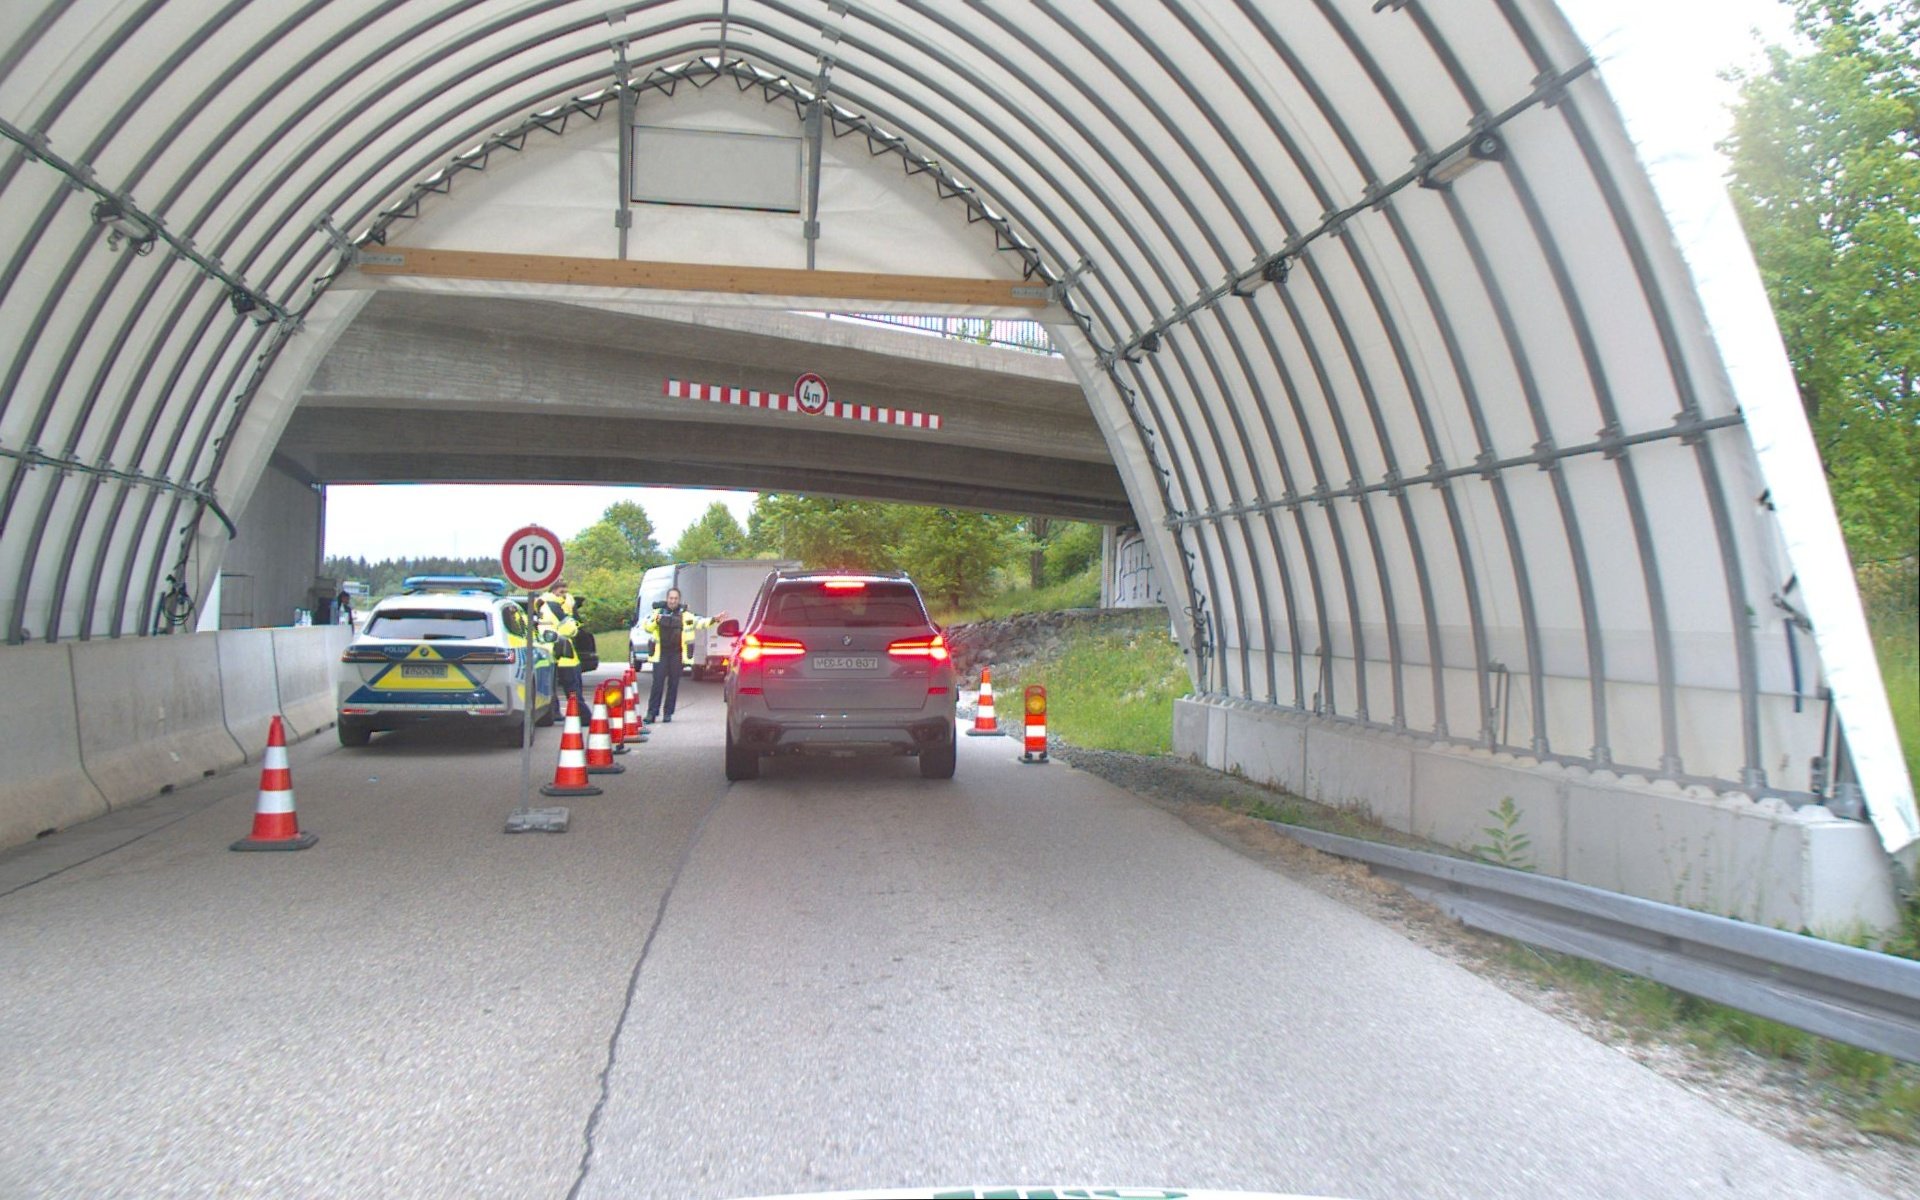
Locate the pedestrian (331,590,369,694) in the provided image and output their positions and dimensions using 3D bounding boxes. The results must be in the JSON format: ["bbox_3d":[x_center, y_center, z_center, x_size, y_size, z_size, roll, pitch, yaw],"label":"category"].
[{"bbox_3d":[-12.126,0.825,32.891,0.613,2.049,0.654,0,-1,-13],"label":"pedestrian"}]

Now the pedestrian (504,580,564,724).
[{"bbox_3d":[-5.367,0.648,20.883,0.597,1.784,0.665,-1,-1,-3],"label":"pedestrian"}]

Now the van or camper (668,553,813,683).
[{"bbox_3d":[-4.982,0.378,36.584,2.194,2.597,6.580,-1,0,-16],"label":"van or camper"}]

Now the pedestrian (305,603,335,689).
[{"bbox_3d":[-11.799,0.840,30.498,0.494,1.573,0.461,0,-1,-17],"label":"pedestrian"}]

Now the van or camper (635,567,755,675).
[{"bbox_3d":[-6.867,0.513,42.360,2.072,2.563,5.519,0,0,-20],"label":"van or camper"}]

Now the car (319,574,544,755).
[{"bbox_3d":[-5.459,0.610,17.541,1.844,1.675,3.988,-1,0,-12],"label":"car"}]

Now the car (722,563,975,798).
[{"bbox_3d":[-1.076,0.627,14.869,1.955,1.796,3.994,-1,0,-6],"label":"car"}]

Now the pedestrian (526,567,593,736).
[{"bbox_3d":[-4.763,0.600,19.702,0.736,1.952,0.760,0,-1,-12],"label":"pedestrian"}]

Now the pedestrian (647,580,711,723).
[{"bbox_3d":[-3.519,0.630,20.693,0.766,1.752,0.755,-1,-1,-11],"label":"pedestrian"}]

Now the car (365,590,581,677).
[{"bbox_3d":[-11.795,0.805,40.172,4.703,2.049,1.842,0,-1,10],"label":"car"}]
